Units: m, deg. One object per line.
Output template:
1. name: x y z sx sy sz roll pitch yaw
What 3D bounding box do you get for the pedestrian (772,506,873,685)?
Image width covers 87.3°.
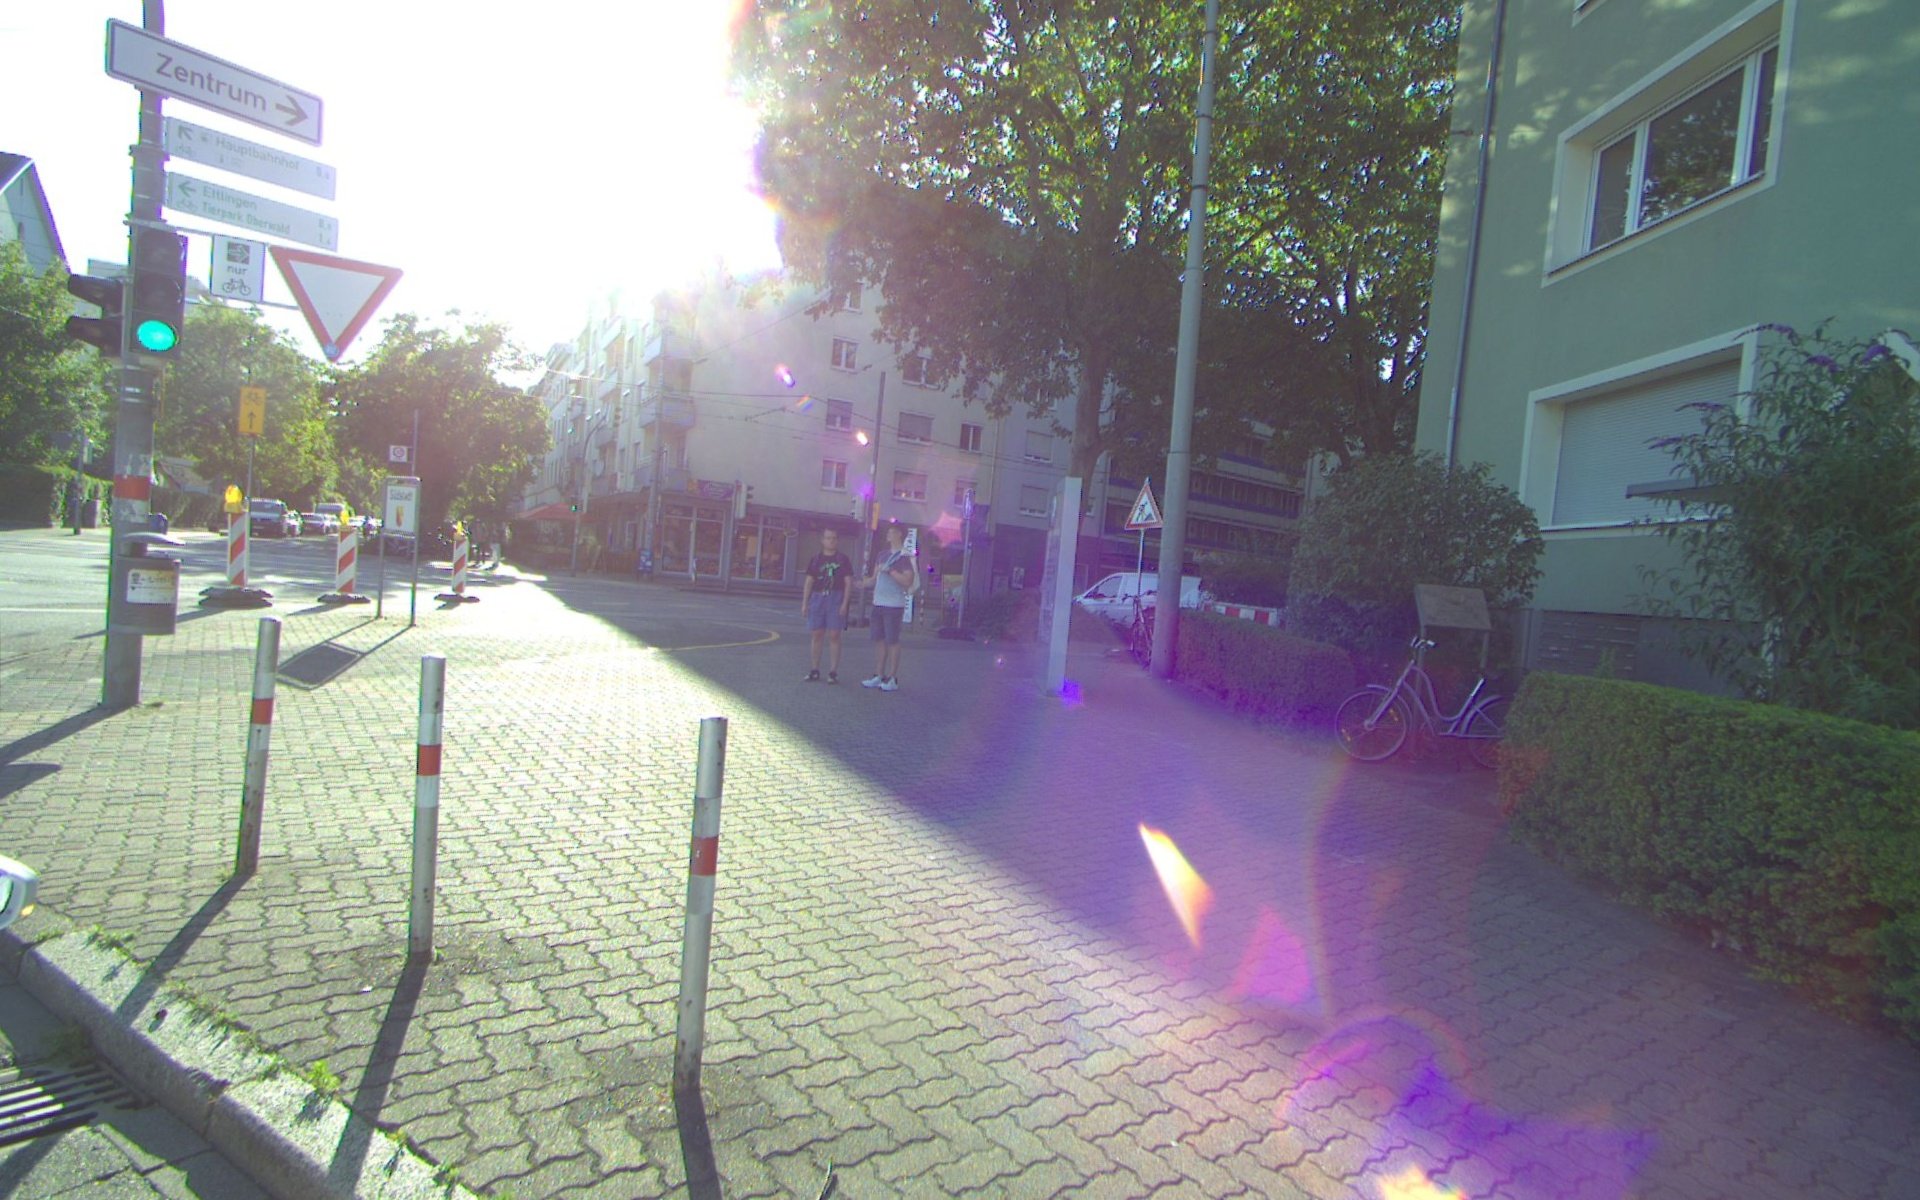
1. pedestrian: -1.446 -0.047 10.699 0.680 1.774 0.794 6 2 13

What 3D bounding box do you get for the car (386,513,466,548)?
1. car: -39.323 -5.088 74.098 5.050 1.948 2.344 5 0 -32

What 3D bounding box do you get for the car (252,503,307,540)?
1. car: -40.134 -4.622 59.439 2.336 1.818 5.265 4 2 -31

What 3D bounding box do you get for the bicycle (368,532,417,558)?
1. bicycle: -23.673 -2.295 41.992 1.708 0.945 0.667 5 2 -29

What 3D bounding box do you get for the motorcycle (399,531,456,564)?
1. motorcycle: -21.613 -2.128 40.860 1.938 1.124 0.829 4 2 -34

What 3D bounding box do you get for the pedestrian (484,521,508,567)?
1. pedestrian: -18.521 -2.230 40.164 0.682 1.774 0.791 5 2 -17

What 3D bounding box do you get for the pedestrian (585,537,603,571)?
1. pedestrian: -17.867 -2.255 49.118 0.472 1.613 0.615 8 3 45

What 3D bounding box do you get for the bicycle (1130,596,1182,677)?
1. bicycle: 2.895 0.503 14.977 0.511 1.071 1.933 6 1 7

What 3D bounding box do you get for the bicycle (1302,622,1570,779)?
1. bicycle: 3.983 0.827 8.522 1.897 1.071 0.521 6 2 5

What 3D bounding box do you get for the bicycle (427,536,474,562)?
1. bicycle: -21.574 -2.153 42.583 1.708 0.945 0.557 5 2 -29

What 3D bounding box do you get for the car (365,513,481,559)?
1. car: -30.200 -3.533 56.655 5.576 1.948 2.344 5 0 -32

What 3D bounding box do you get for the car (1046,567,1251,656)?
1. car: 4.741 0.234 26.106 1.913 1.849 5.185 5 0 -37

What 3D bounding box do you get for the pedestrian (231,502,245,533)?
1. pedestrian: -42.828 -4.875 59.680 0.575 1.754 0.602 4 3 -34

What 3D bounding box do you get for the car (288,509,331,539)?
1. car: -47.010 -5.510 72.751 2.336 1.818 5.265 4 2 -31

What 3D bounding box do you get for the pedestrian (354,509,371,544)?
1. pedestrian: -32.431 -3.988 54.610 0.656 1.863 0.677 4 3 -30

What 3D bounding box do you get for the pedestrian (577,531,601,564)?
1. pedestrian: -18.315 -2.599 49.660 0.806 1.565 0.905 3 3 -35

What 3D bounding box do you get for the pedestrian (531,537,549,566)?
1. pedestrian: -21.432 -2.486 51.337 0.803 1.381 0.908 4 2 -23

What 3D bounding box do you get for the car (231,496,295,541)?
1. car: -37.303 -4.343 53.966 2.336 2.040 5.265 4 2 -31

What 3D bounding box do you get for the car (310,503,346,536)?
1. car: -54.362 -6.899 86.617 2.336 2.548 5.265 4 2 -31

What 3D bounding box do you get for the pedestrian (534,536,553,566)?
1. pedestrian: -20.792 -2.447 50.181 0.803 1.381 0.908 4 2 -23

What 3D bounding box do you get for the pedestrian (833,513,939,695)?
1. pedestrian: -0.763 0.035 10.496 0.680 1.774 0.794 6 2 21

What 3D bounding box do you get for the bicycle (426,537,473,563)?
1. bicycle: -21.944 -2.130 43.255 1.708 0.945 0.557 5 2 -29

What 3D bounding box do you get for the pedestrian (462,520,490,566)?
1. pedestrian: -19.463 -2.295 40.473 0.706 1.774 0.793 5 2 -10

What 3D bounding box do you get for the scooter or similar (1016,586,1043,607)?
1. scooter or similar: 3.607 -0.161 52.100 1.421 0.966 0.462 4 3 -44
